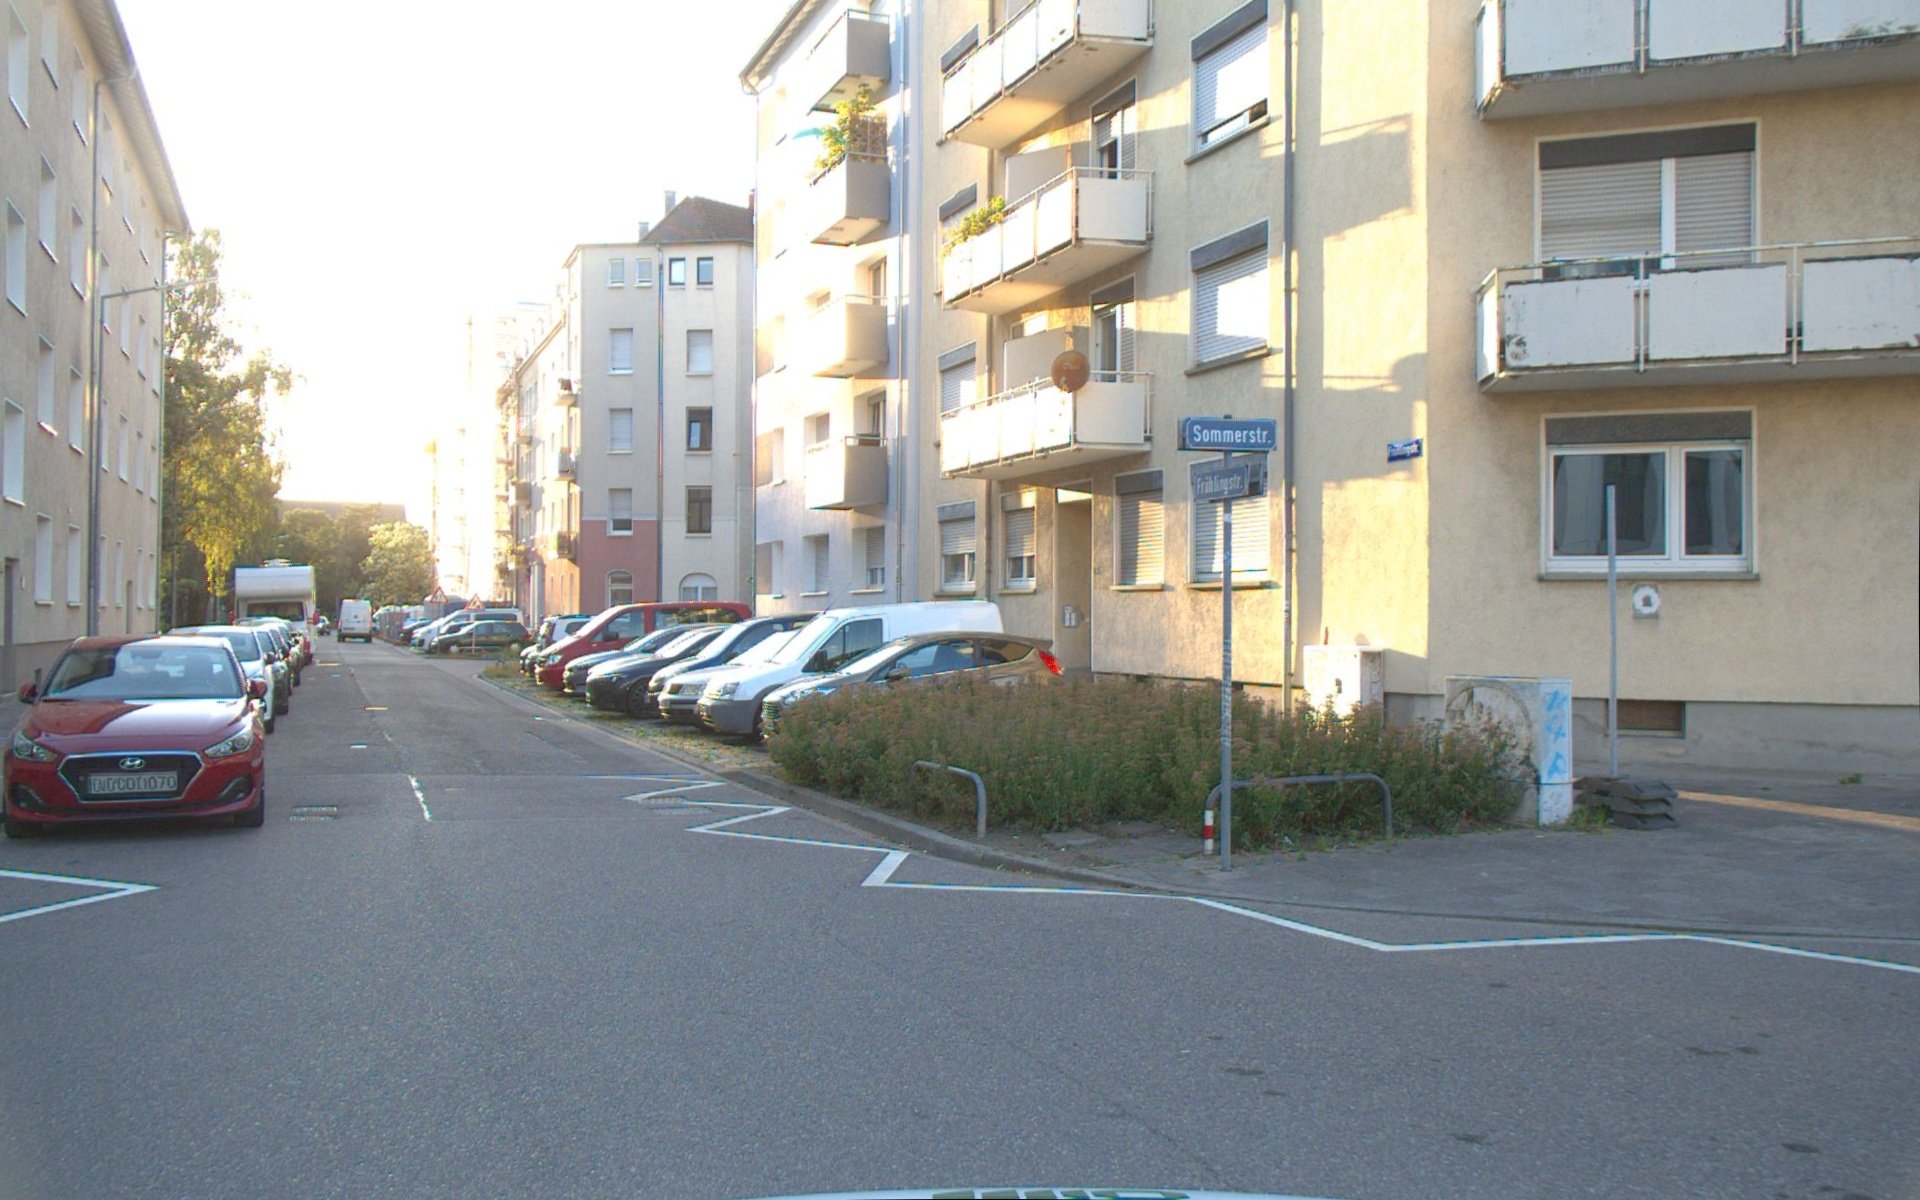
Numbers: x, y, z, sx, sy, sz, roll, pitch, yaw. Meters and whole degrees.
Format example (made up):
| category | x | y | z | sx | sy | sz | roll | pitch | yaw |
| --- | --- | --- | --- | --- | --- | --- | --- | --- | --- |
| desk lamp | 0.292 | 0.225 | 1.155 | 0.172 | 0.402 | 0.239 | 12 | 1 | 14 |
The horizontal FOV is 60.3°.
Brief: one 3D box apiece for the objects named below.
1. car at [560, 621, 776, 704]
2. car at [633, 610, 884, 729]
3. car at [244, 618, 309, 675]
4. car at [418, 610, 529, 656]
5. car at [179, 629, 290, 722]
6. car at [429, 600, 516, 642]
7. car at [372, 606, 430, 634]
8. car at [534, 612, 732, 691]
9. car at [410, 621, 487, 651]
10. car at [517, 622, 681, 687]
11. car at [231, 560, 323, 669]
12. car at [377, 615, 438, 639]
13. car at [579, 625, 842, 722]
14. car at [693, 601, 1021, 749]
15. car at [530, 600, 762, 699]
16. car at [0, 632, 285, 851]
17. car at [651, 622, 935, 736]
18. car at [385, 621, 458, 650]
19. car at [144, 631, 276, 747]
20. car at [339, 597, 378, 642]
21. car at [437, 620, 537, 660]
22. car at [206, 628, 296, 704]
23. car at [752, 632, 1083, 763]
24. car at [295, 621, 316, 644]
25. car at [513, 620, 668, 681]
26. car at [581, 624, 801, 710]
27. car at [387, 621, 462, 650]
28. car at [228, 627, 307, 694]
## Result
| category | x | y | z | sx | sy | sz | roll | pitch | yaw |
| --- | --- | --- | --- | --- | --- | --- | --- | --- | --- |
| car | -5.949 | 1.245 | 33.745 | 4.088 | 1.497 | 1.625 | -1 | -1 | -23 |
| car | -3.273 | 1.085 | 26.789 | 3.738 | 1.725 | 1.644 | -1 | -1 | -22 |
| car | -20.025 | 1.336 | 48.551 | 1.629 | 1.568 | 3.851 | -1 | -1 | -21 |
| car | -22.432 | 1.508 | 76.282 | 4.747 | 2.002 | 1.727 | -1 | -1 | -23 |
| car | -12.585 | 1.251 | 28.803 | 1.637 | 1.460 | 4.002 | -1 | -1 | -23 |
| car | -24.207 | 1.036 | 82.127 | 3.937 | 2.049 | 1.984 | 0 | -1 | -26 |
| car | -49.564 | 1.763 | 146.675 | 4.747 | 2.450 | 1.727 | -1 | -1 | -23 |
| car | -7.676 | 1.193 | 38.816 | 4.265 | 1.666 | 1.805 | -1 | -1 | -23 |
| car | -28.436 | 1.973 | 91.941 | 3.932 | 1.557 | 1.647 | -1 | 0 | -23 |
| car | -8.982 | 1.340 | 41.108 | 3.760 | 1.453 | 1.623 | -1 | -1 | -23 |
| car | -22.708 | 0.501 | 55.277 | 2.582 | 3.326 | 7.647 | -1 | -1 | -21 |
| car | -38.384 | 1.859 | 114.909 | 3.932 | 1.557 | 1.647 | -1 | 0 | -23 |
| car | -4.319 | 1.236 | 28.677 | 4.248 | 1.475 | 1.644 | -1 | -1 | -22 |
| car | -1.421 | 0.994 | 22.822 | 4.219 | 1.893 | 1.730 | 0 | -2 | -22 |
| car | -6.860 | 1.049 | 36.115 | 4.658 | 1.943 | 2.045 | -1 | -1 | -23 |
| car | -6.588 | 1.022 | 13.666 | 1.820 | 1.499 | 4.049 | 0 | -1 | -23 |
| car | -2.482 | 1.124 | 24.524 | 3.900 | 1.549 | 1.695 | 0 | -1 | -22 |
| car | -31.140 | 2.043 | 95.622 | 3.932 | 1.557 | 1.647 | -1 | 0 | -23 |
| car | -10.785 | 1.215 | 23.927 | 1.594 | 1.499 | 3.479 | -1 | -1 | -23 |
| car | -38.432 | 1.260 | 105.579 | 2.100 | 2.765 | 4.798 | -1 | -1 | -23 |
| car | -19.933 | 1.655 | 69.699 | 3.932 | 1.557 | 1.647 | -1 | 0 | -23 |
| car | -14.804 | 1.330 | 34.602 | 1.631 | 1.460 | 3.769 | -1 | -1 | -23 |
| car | -0.536 | 1.158 | 20.719 | 3.818 | 1.518 | 1.730 | 0 | -1 | -22 |
| car | -56.124 | 2.765 | 141.793 | 1.631 | 1.862 | 3.848 | -1 | -1 | -23 |
| car | -9.730 | 1.311 | 43.507 | 3.760 | 1.453 | 1.623 | -1 | -1 | -23 |
| car | -5.096 | 1.230 | 31.295 | 3.824 | 1.441 | 1.624 | -1 | -1 | -24 |
| car | -30.381 | 2.016 | 93.822 | 3.932 | 1.557 | 1.647 | -1 | 0 | -23 |
| car | -16.464 | 1.396 | 39.346 | 1.631 | 1.460 | 3.848 | -1 | -1 | -23 |
